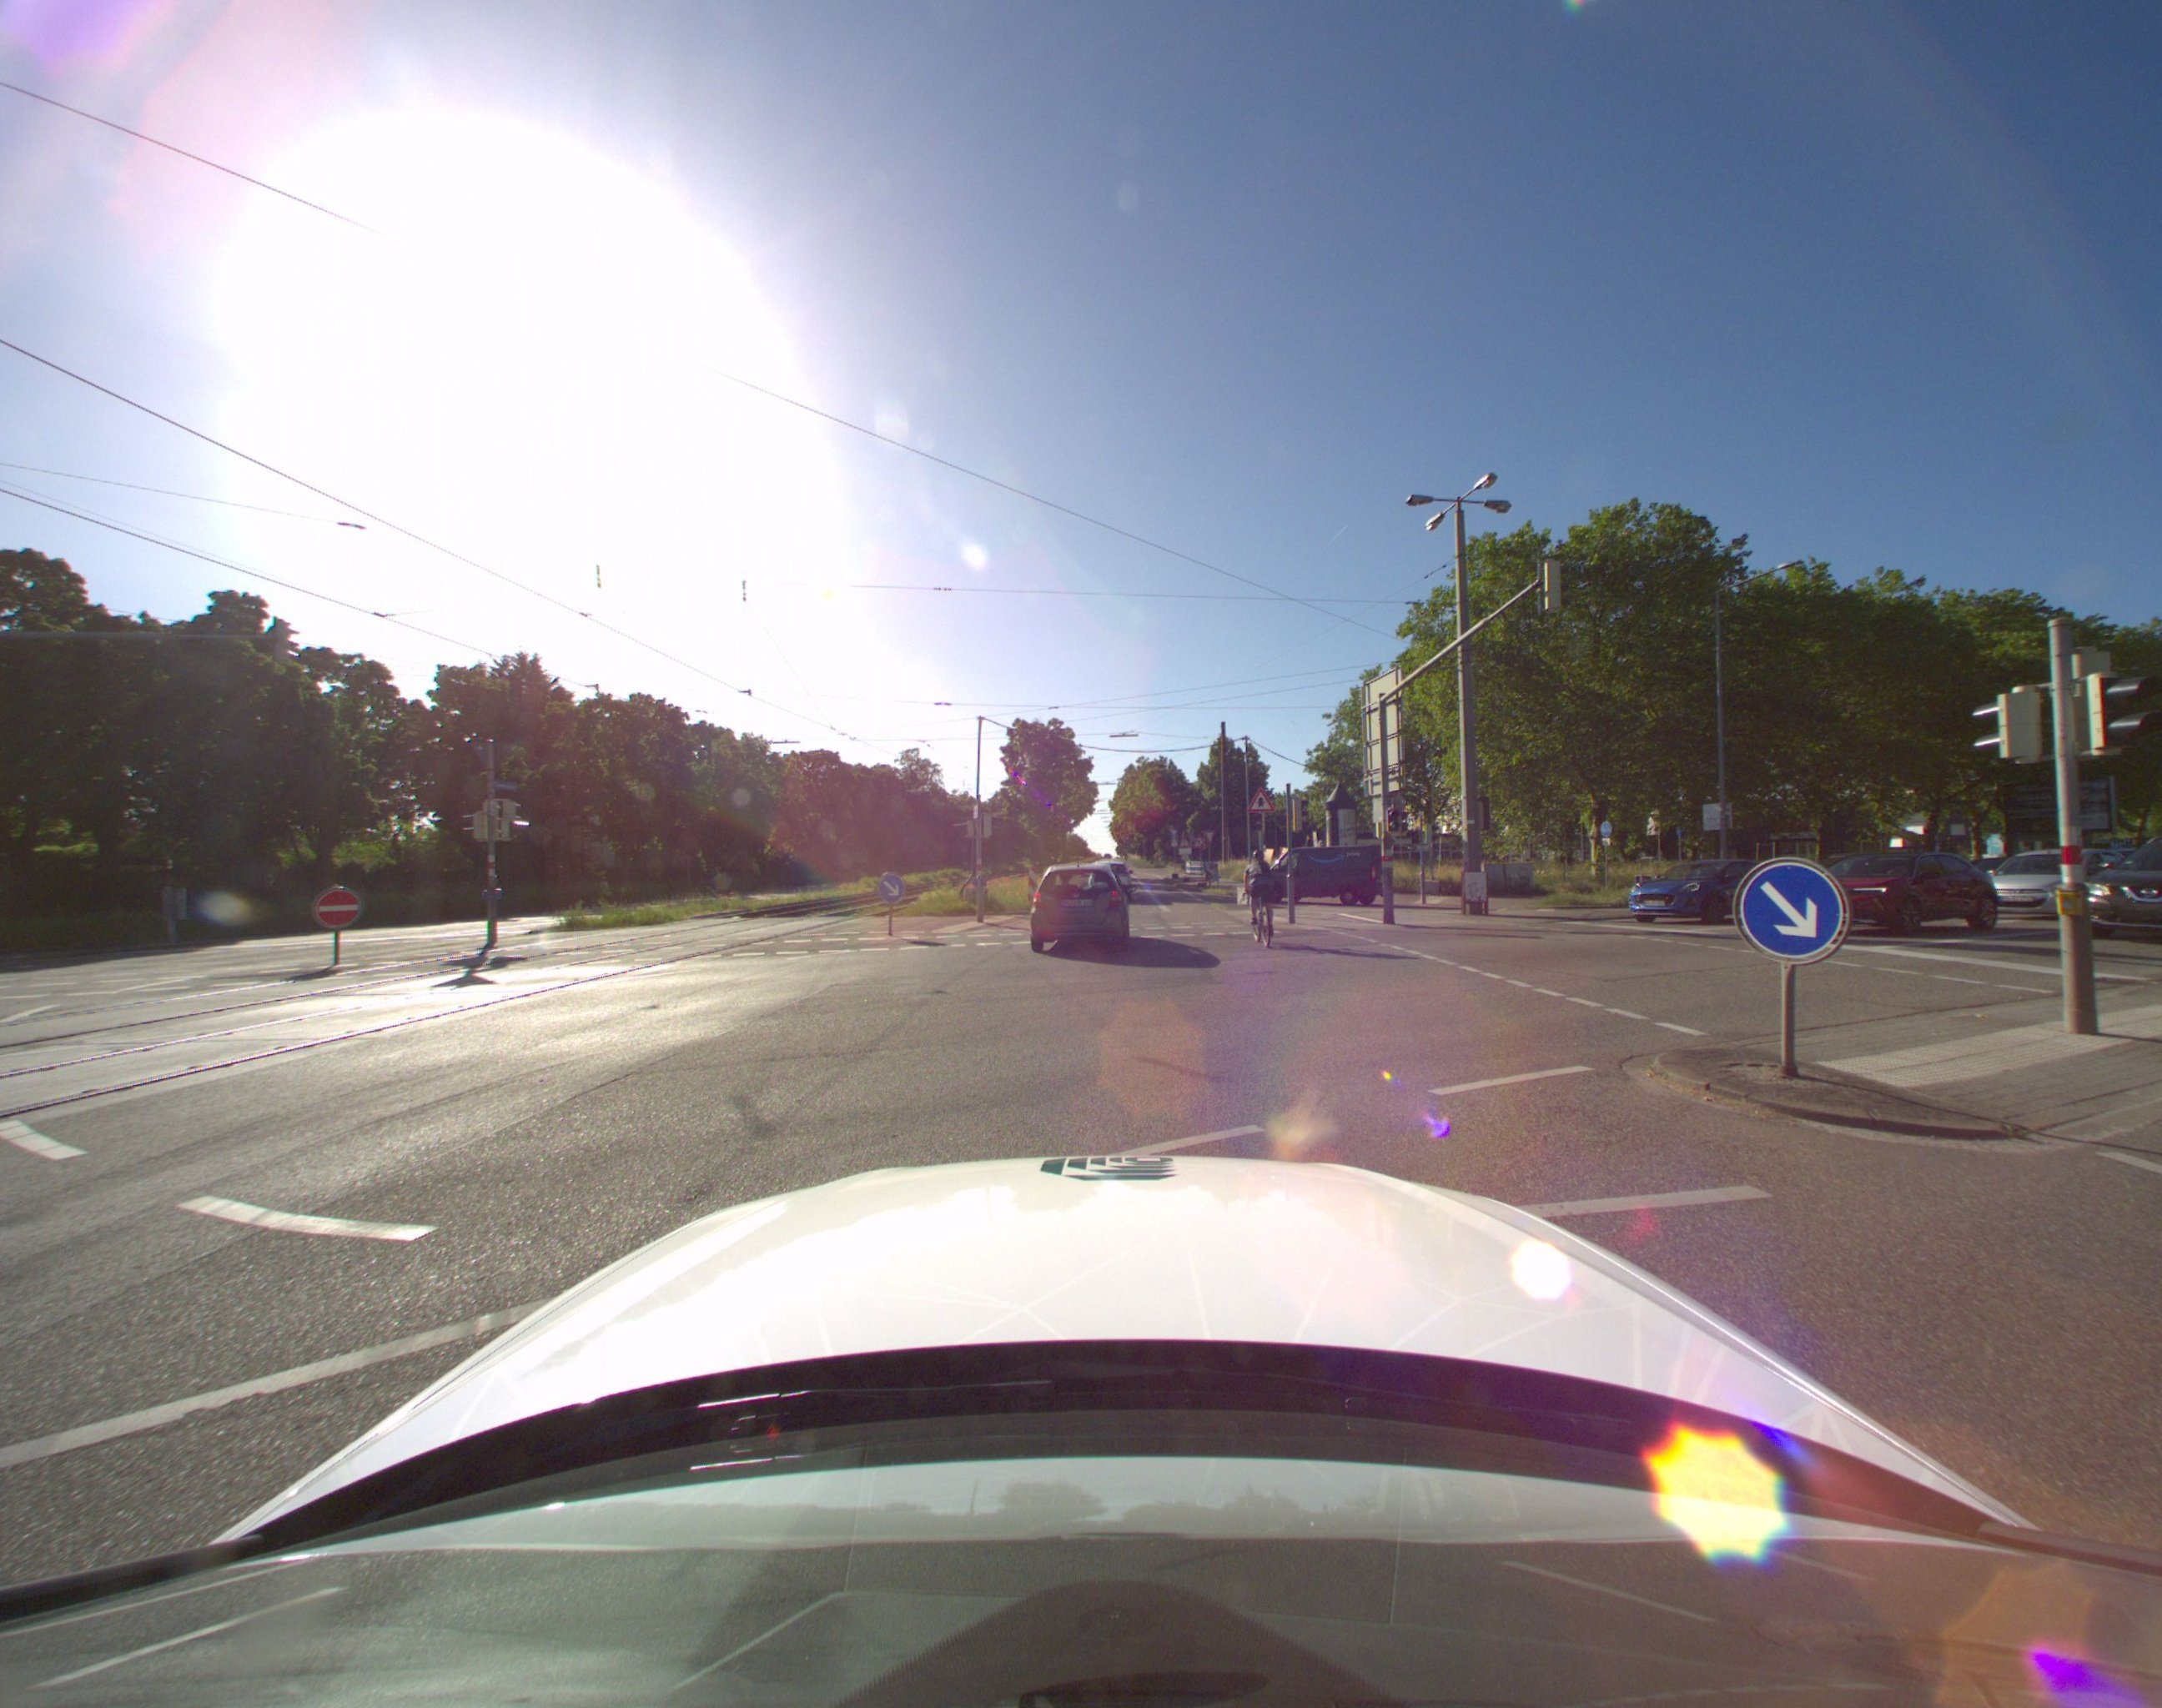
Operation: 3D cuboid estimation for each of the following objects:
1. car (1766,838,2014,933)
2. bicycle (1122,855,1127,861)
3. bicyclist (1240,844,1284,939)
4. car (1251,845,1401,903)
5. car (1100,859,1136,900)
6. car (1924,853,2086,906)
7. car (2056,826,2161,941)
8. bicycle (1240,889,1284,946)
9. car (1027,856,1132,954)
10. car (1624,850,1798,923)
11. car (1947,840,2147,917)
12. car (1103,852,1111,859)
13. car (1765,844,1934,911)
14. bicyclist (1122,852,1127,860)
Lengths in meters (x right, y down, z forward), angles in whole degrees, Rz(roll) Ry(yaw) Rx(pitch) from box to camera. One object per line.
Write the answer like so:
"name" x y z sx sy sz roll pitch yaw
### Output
"car" 15.583 0.560 15.718 4.090 1.600 1.804 -1 -1 -20
"bicycle" 7.693 0.681 143.230 0.814 1.048 2.508 0 -2 4
"bicyclist" 3.315 0.682 14.978 0.612 1.679 0.934 -1 -1 4
"car" 9.354 0.766 31.300 5.053 2.070 2.144 -2 -1 35
"car" 1.534 1.017 33.115 1.345 1.528 3.126 -1 -1 3
"car" 27.700 0.720 24.412 4.576 1.408 1.919 -1 -1 -24
"car" 18.038 0.402 13.036 4.500 1.711 1.906 -1 -1 -24
"bicycle" 3.349 1.147 15.206 0.521 0.923 2.092 -2 -1 5
"car" 0.095 0.837 15.171 1.663 1.515 3.678 1 1 4
"car" 15.348 0.749 19.840 3.865 1.600 1.699 -1 -1 -24
"car" 21.945 0.513 18.516 3.860 1.600 1.701 -1 -1 -20
"car" 7.472 0.501 232.460 1.985 2.014 4.003 -2 -1 3
"car" 21.214 0.609 22.486 4.181 1.678 1.919 -1 -1 -24
"bicyclist" 7.703 0.339 143.259 0.814 1.524 0.967 0 -2 3
